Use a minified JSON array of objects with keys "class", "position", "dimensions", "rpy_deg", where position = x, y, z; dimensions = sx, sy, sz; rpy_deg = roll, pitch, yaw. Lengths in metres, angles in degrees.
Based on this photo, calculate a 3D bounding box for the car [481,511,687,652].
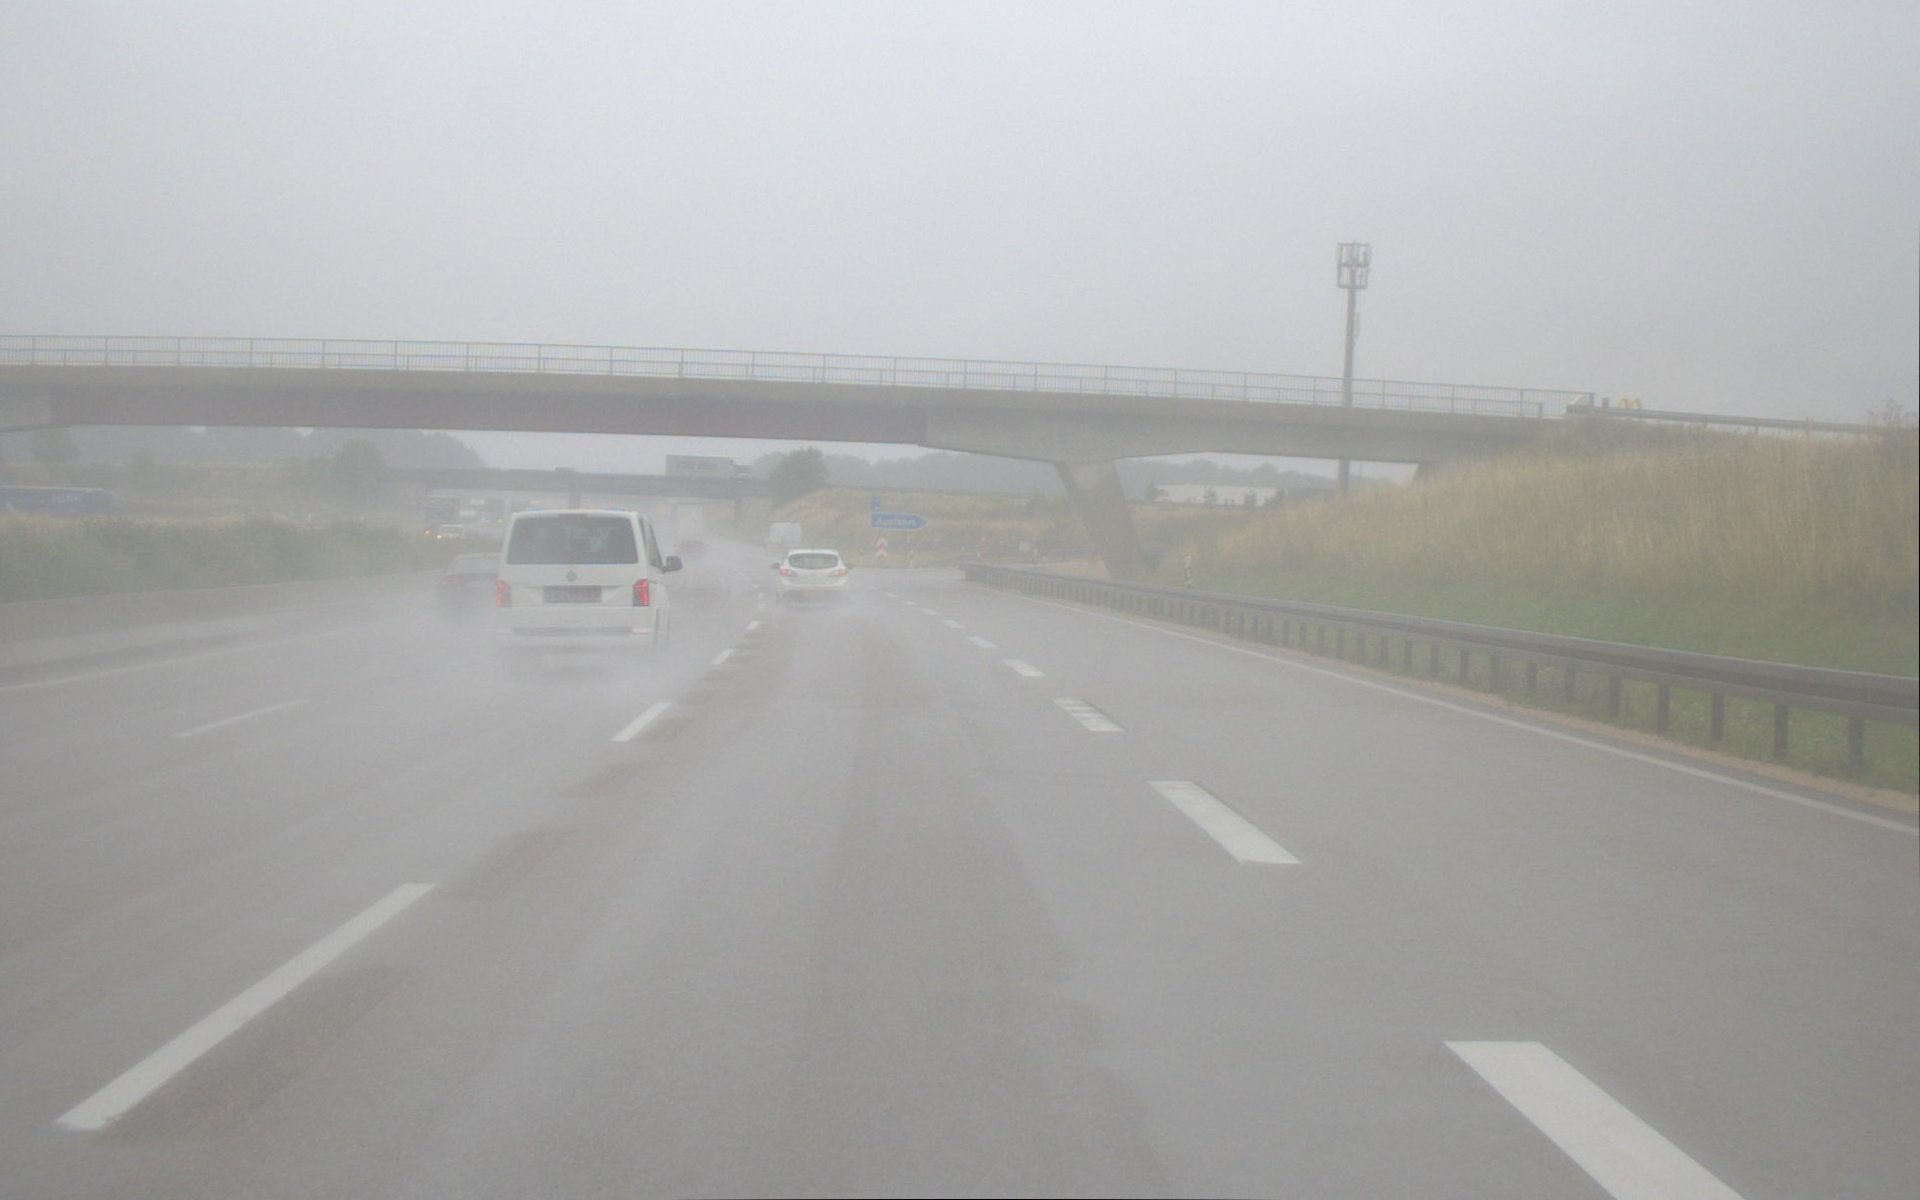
[{"class":"car","position":[-4.475,-0.239,41.498],"dimensions":[1.897,1.580,4.000],"rpy_deg":[1,1,2]}]

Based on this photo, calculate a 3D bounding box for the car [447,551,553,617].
[{"class":"car","position":[-8.980,-0.323,67.280],"dimensions":[1.468,1.253,3.339],"rpy_deg":[1,1,3]}]

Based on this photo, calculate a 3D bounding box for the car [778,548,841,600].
[{"class":"car","position":[-3.594,-0.636,82.446],"dimensions":[1.467,1.204,2.992],"rpy_deg":[1,1,-2]}]
